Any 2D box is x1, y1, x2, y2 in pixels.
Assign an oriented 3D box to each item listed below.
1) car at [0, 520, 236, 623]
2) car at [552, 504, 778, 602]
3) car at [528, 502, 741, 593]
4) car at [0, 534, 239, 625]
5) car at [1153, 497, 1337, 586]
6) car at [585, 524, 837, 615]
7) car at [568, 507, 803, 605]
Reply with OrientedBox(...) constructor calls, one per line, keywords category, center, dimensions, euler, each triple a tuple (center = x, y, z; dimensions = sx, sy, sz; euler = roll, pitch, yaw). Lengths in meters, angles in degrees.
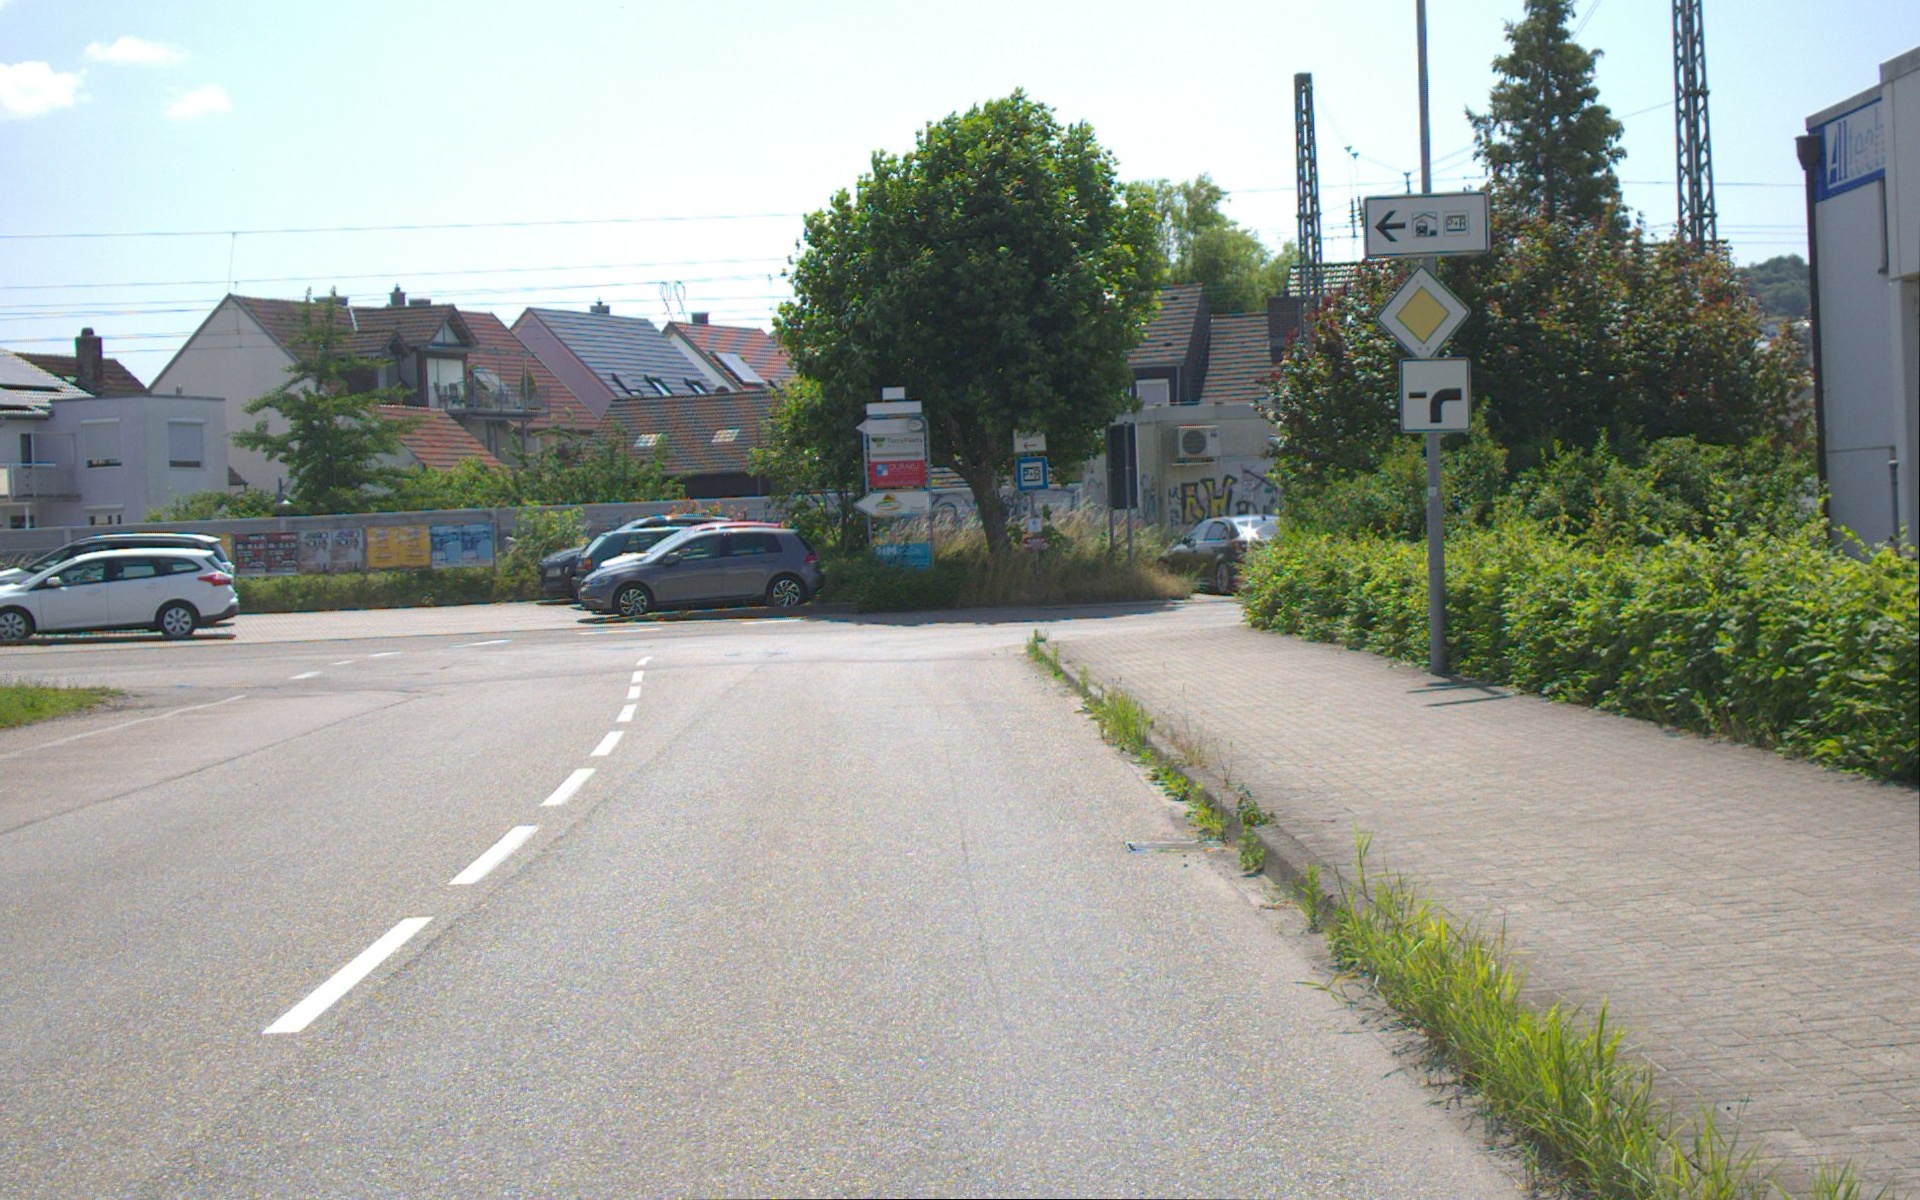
OrientedBox(category="car", center=(-15.380, -0.531, 61.924), dimensions=(4.451, 1.684, 2.001), euler=(-2, 3, -10))
OrientedBox(category="car", center=(-5.553, -0.893, 64.471), dimensions=(3.986, 1.651, 2.001), euler=(-2, 2, -11))
OrientedBox(category="car", center=(-6.337, -1.020, 66.770), dimensions=(3.986, 1.724, 1.771), euler=(0, 1, -11))
OrientedBox(category="car", center=(-14.224, -0.345, 57.313), dimensions=(4.281, 1.472, 1.828), euler=(0, 1, -13))
OrientedBox(category="car", center=(5.160, -1.100, 62.782), dimensions=(1.751, 1.381, 4.002), euler=(-1, 5, -21))
OrientedBox(category="car", center=(-4.324, -0.534, 59.433), dimensions=(4.186, 1.458, 1.665), euler=(-1, 1, -10))
OrientedBox(category="car", center=(-4.959, -0.799, 61.863), dimensions=(3.986, 1.581, 1.780), euler=(-2, 1, -10))
